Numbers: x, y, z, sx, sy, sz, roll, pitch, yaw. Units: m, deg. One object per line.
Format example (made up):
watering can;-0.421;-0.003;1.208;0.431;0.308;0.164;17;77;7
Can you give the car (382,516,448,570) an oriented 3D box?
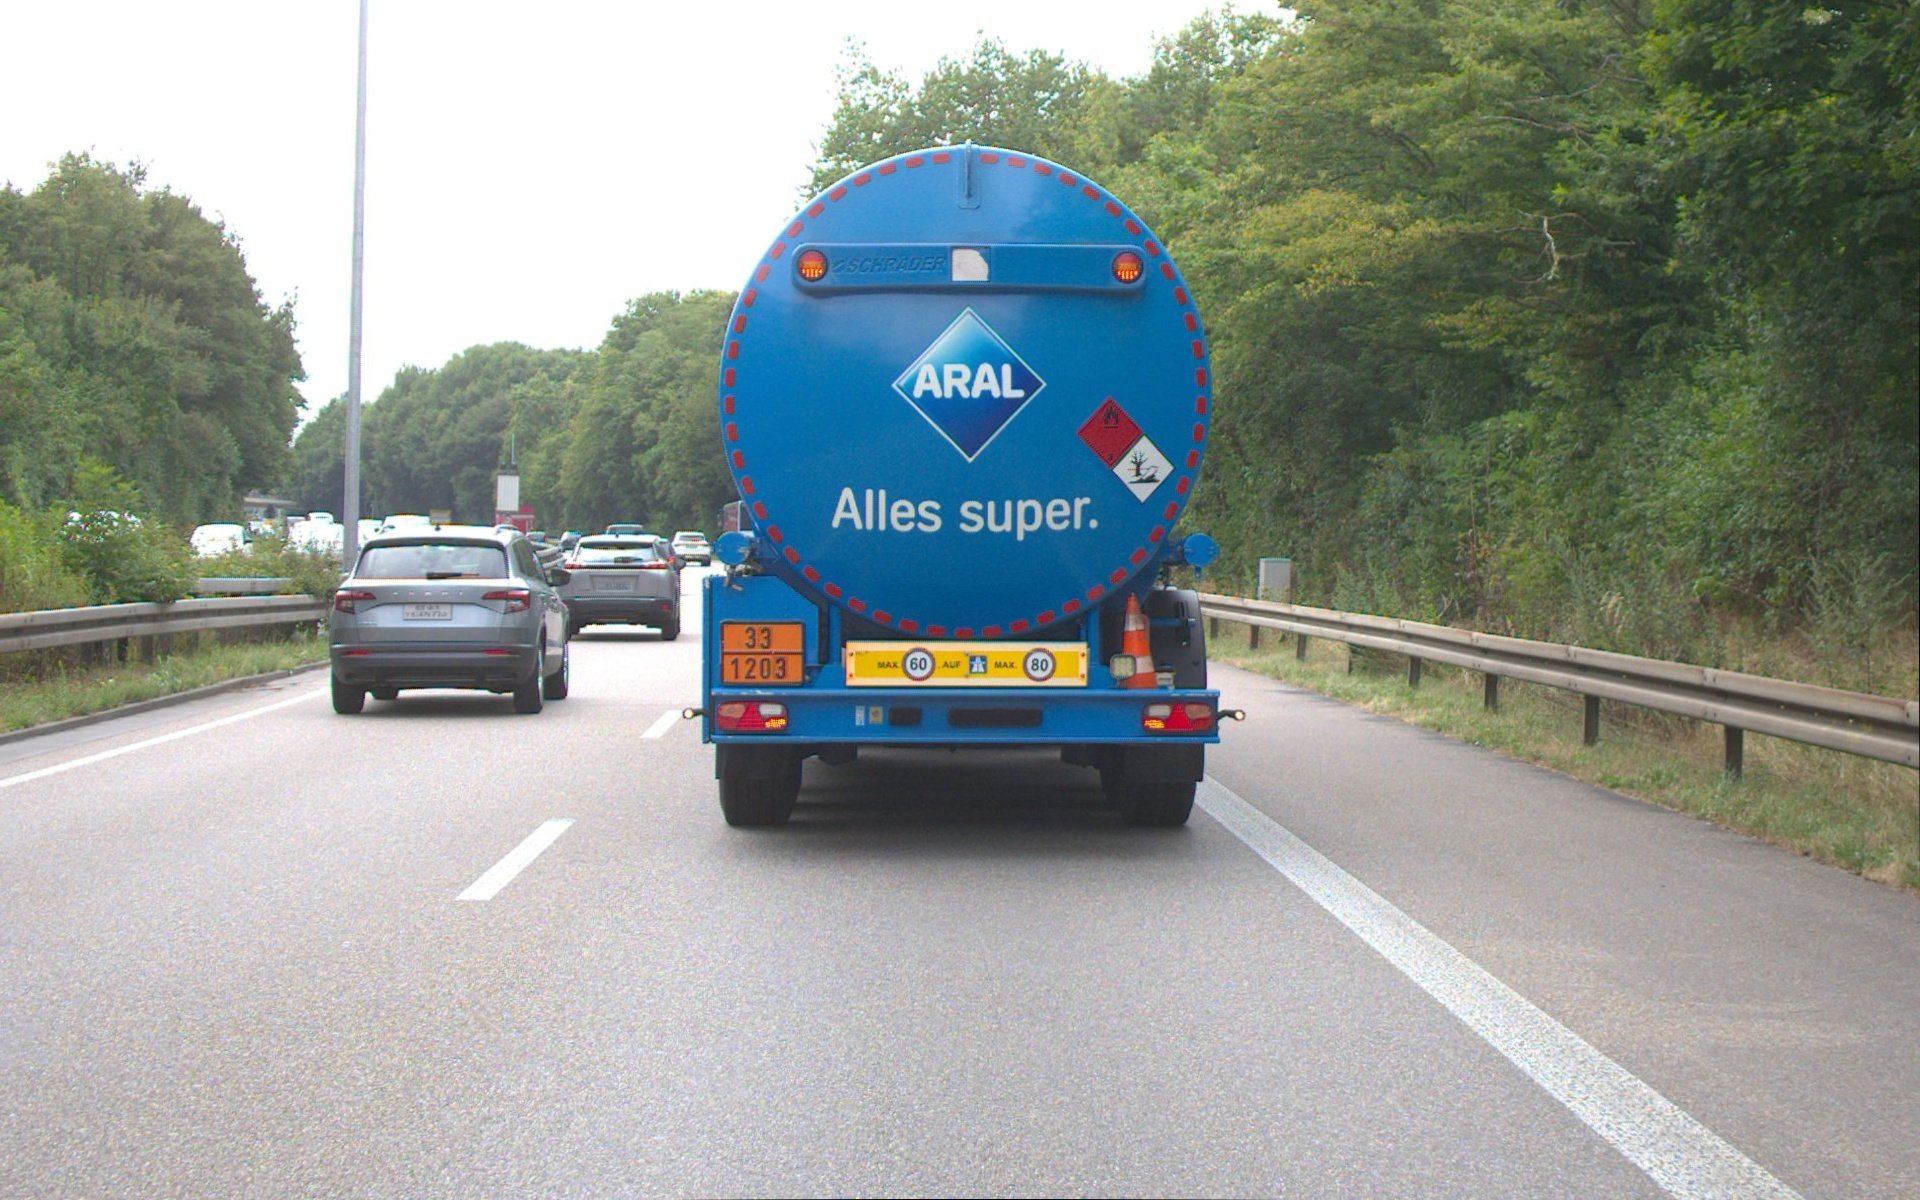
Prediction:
car;-18.736;-1.949;118.304;1.791;1.830;4.957;0;1;-4

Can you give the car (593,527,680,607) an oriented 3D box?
car;-8.279;-0.845;88.307;1.993;2.007;4.000;0;1;-2

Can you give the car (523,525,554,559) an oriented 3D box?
car;-28.233;-3.881;230.205;1.993;2.237;4.001;0;1;-6

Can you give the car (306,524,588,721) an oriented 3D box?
car;-4.425;0.162;30.250;1.826;1.604;4.167;0;1;0

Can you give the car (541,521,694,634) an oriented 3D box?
car;-5.054;-0.340;51.225;1.826;1.604;4.167;0;1;0

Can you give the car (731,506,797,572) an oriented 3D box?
car;-6.747;-2.082;118.059;1.993;2.237;4.001;0;1;-7

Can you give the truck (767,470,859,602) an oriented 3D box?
truck;-3.564;-1.544;84.410;1.993;3.082;7.815;0;1;-1

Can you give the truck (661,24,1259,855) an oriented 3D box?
truck;-0.085;-0.776;19.732;2.755;3.833;7.689;0;1;-1

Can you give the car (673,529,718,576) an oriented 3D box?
car;-12.789;-2.277;166.256;1.993;2.237;4.001;0;1;-7
